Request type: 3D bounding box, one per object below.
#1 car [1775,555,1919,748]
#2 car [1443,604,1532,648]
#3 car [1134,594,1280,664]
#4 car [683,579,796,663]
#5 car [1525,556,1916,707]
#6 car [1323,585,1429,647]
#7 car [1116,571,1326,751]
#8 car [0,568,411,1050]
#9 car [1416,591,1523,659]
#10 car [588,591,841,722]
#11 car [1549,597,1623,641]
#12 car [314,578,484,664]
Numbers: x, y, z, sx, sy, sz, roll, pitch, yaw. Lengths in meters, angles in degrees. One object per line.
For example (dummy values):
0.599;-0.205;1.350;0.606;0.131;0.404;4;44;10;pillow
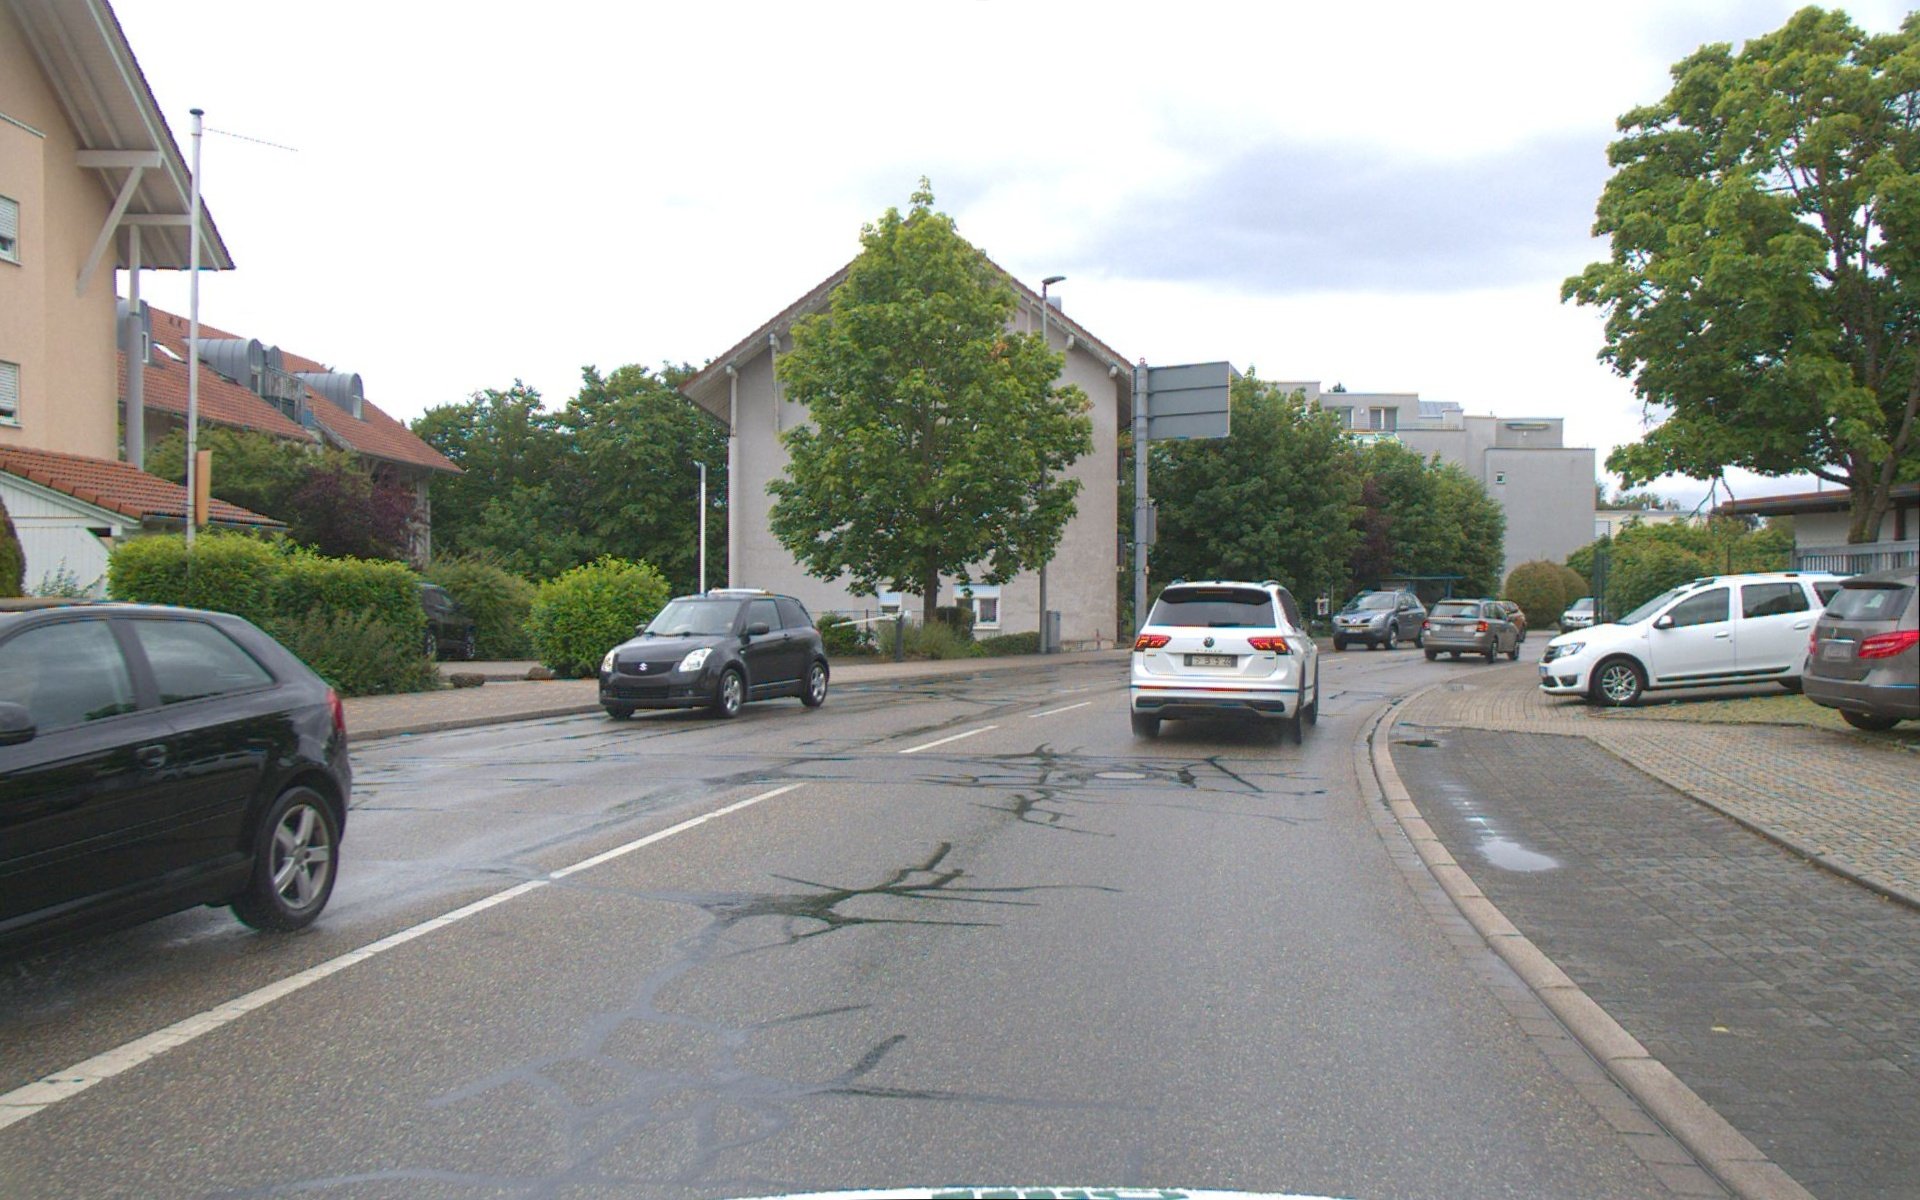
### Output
9.944;0.329;15.129;3.960;1.624;1.906;-4;0;3;car
18.533;0.881;57.979;1.869;1.465;4.101;0;0;35;car
5.746;0.612;38.036;1.866;1.415;4.481;1;2;29;car
-4.704;0.489;35.860;1.953;1.680;3.998;1;-2;-1;car
9.805;0.406;21.647;4.248;1.624;1.768;-4;0;10;car
12.316;0.420;48.805;1.867;1.686;4.256;1;1;32;car
3.046;0.556;18.560;1.880;1.752;4.268;1;1;15;car
-3.888;0.666;5.930;1.820;1.545;4.296;0;0;10;car
12.403;0.630;40.113;1.731;1.536;3.993;0;-2;28;car
-2.975;0.647;20.783;1.555;1.447;3.696;-1;1;20;car
25.130;0.748;66.290;1.869;1.686;4.101;0;0;35;car
-11.840;0.483;35.213;1.951;1.680;4.002;1;-2;5;car
